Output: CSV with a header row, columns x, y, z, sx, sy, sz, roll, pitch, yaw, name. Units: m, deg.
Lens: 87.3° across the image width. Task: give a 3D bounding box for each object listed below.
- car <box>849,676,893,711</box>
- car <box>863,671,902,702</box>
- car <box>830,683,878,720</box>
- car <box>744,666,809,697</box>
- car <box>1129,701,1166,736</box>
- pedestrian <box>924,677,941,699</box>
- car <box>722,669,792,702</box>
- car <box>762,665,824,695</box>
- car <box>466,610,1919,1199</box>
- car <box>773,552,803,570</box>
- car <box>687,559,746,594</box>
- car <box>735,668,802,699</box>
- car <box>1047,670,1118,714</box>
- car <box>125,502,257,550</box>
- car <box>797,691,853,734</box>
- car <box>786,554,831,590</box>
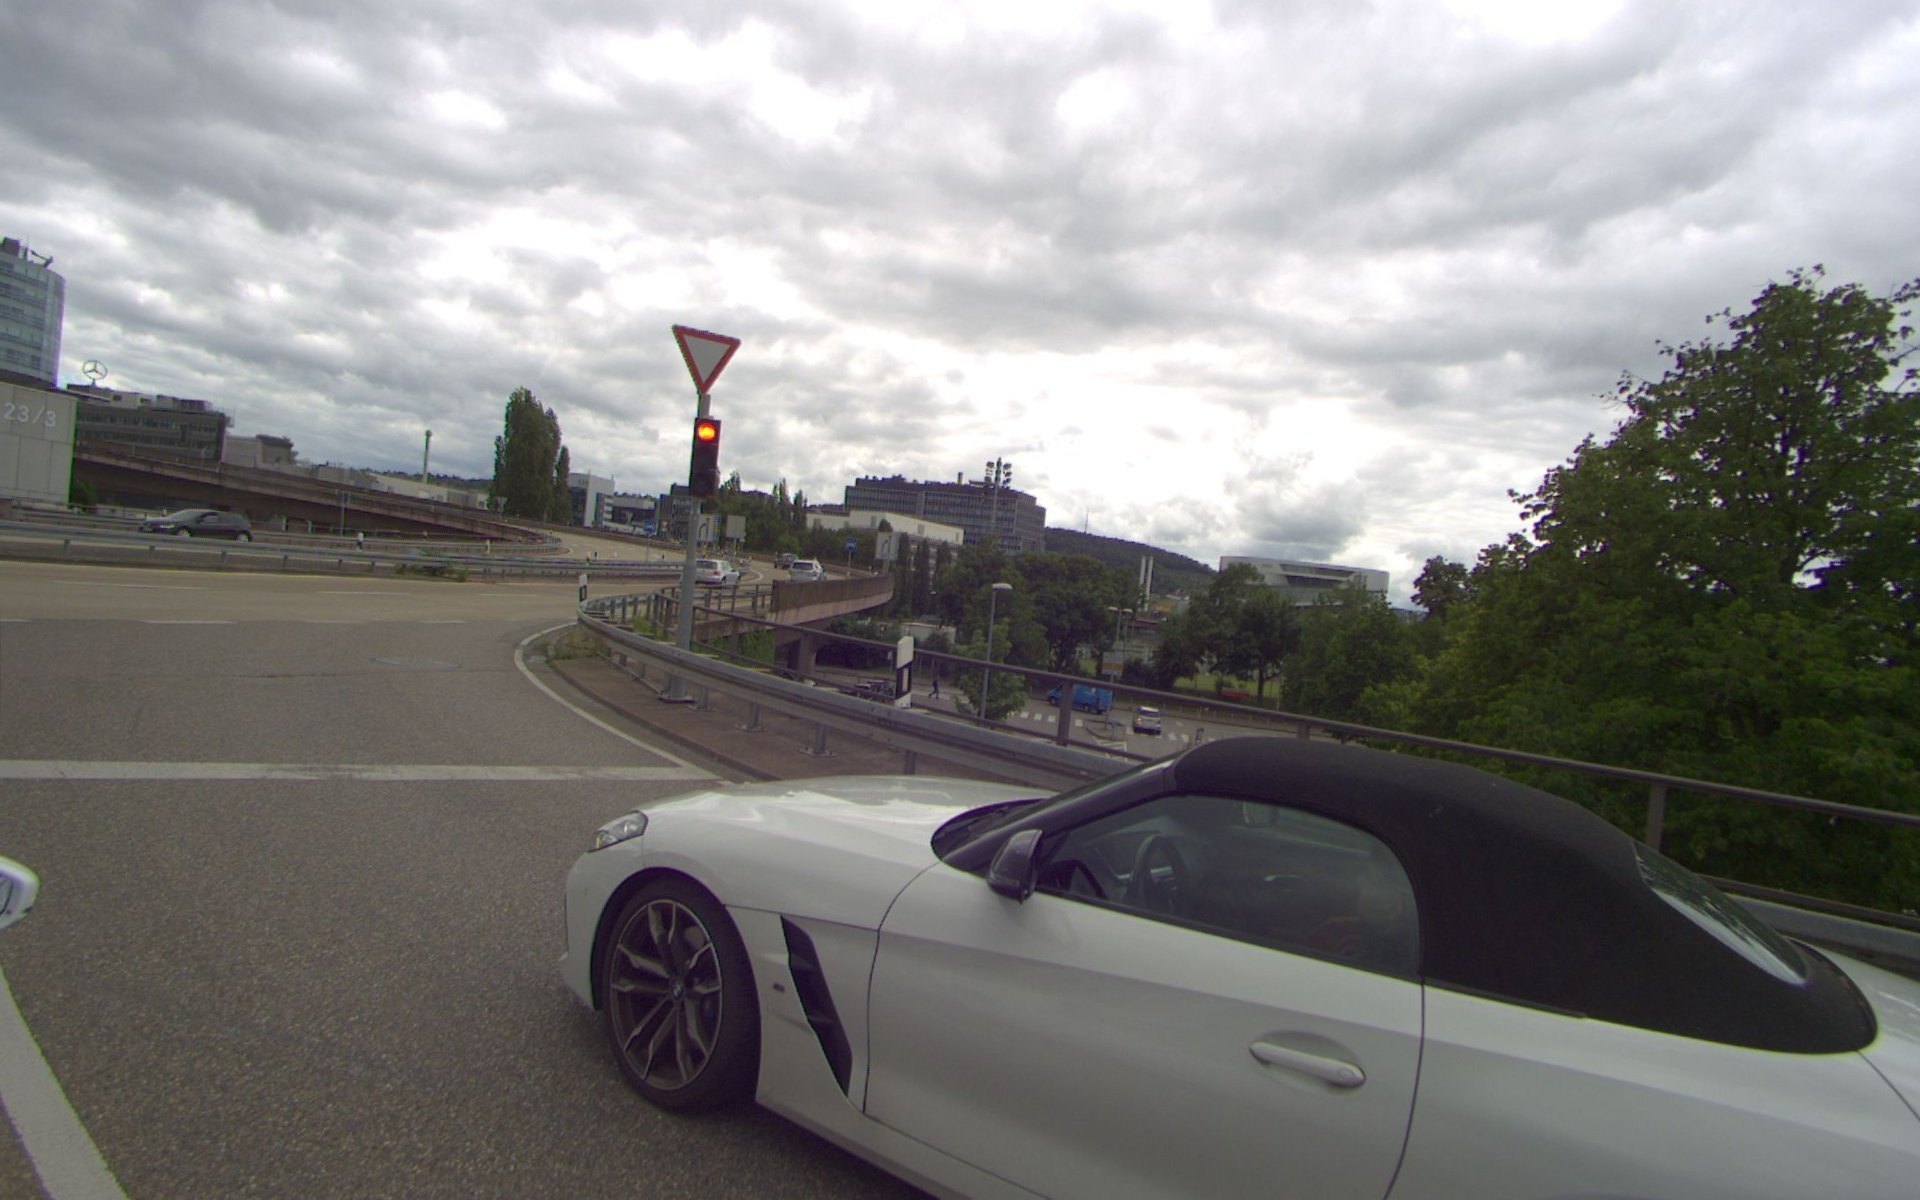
x,y,z,sx,sy,sz,roll,pitch,yaw,name
-5.527,5.832,63.051,1.792,1.553,4.195,8,0,6,car
-5.274,5.858,68.624,1.792,1.553,4.000,8,0,6,car
-6.053,5.795,57.755,1.792,1.553,4.000,8,0,6,car
-12.068,5.372,66.341,3.792,1.371,1.826,8,1,1,car
13.454,8.514,72.408,1.978,1.883,4.867,10,-2,7,car
-2.057,6.528,74.736,0.898,1.514,0.750,8,-3,15,pedestrian
-12.461,5.267,61.883,3.792,1.371,1.826,8,1,1,car
-11.468,5.488,69.122,3.792,1.371,1.826,8,1,1,car
0.627,0.983,3.003,4.194,1.306,1.808,7,-2,34,car
-16.440,-3.709,95.852,1.707,1.480,4.219,5,0,-24,car
-12.337,-1.174,51.168,1.697,1.417,4.067,7,0,3,car
-12.183,5.315,64.223,3.792,1.371,1.826,8,1,1,car
10.065,7.558,82.939,5.319,2.617,2.007,9,-2,45,car
-31.939,-3.039,41.901,1.879,1.440,3.993,8,1,13,car
-6.807,5.683,51.187,1.792,1.553,4.000,8,0,6,car
-8.919,-1.632,59.662,1.698,1.758,4.556,7,0,1,car
